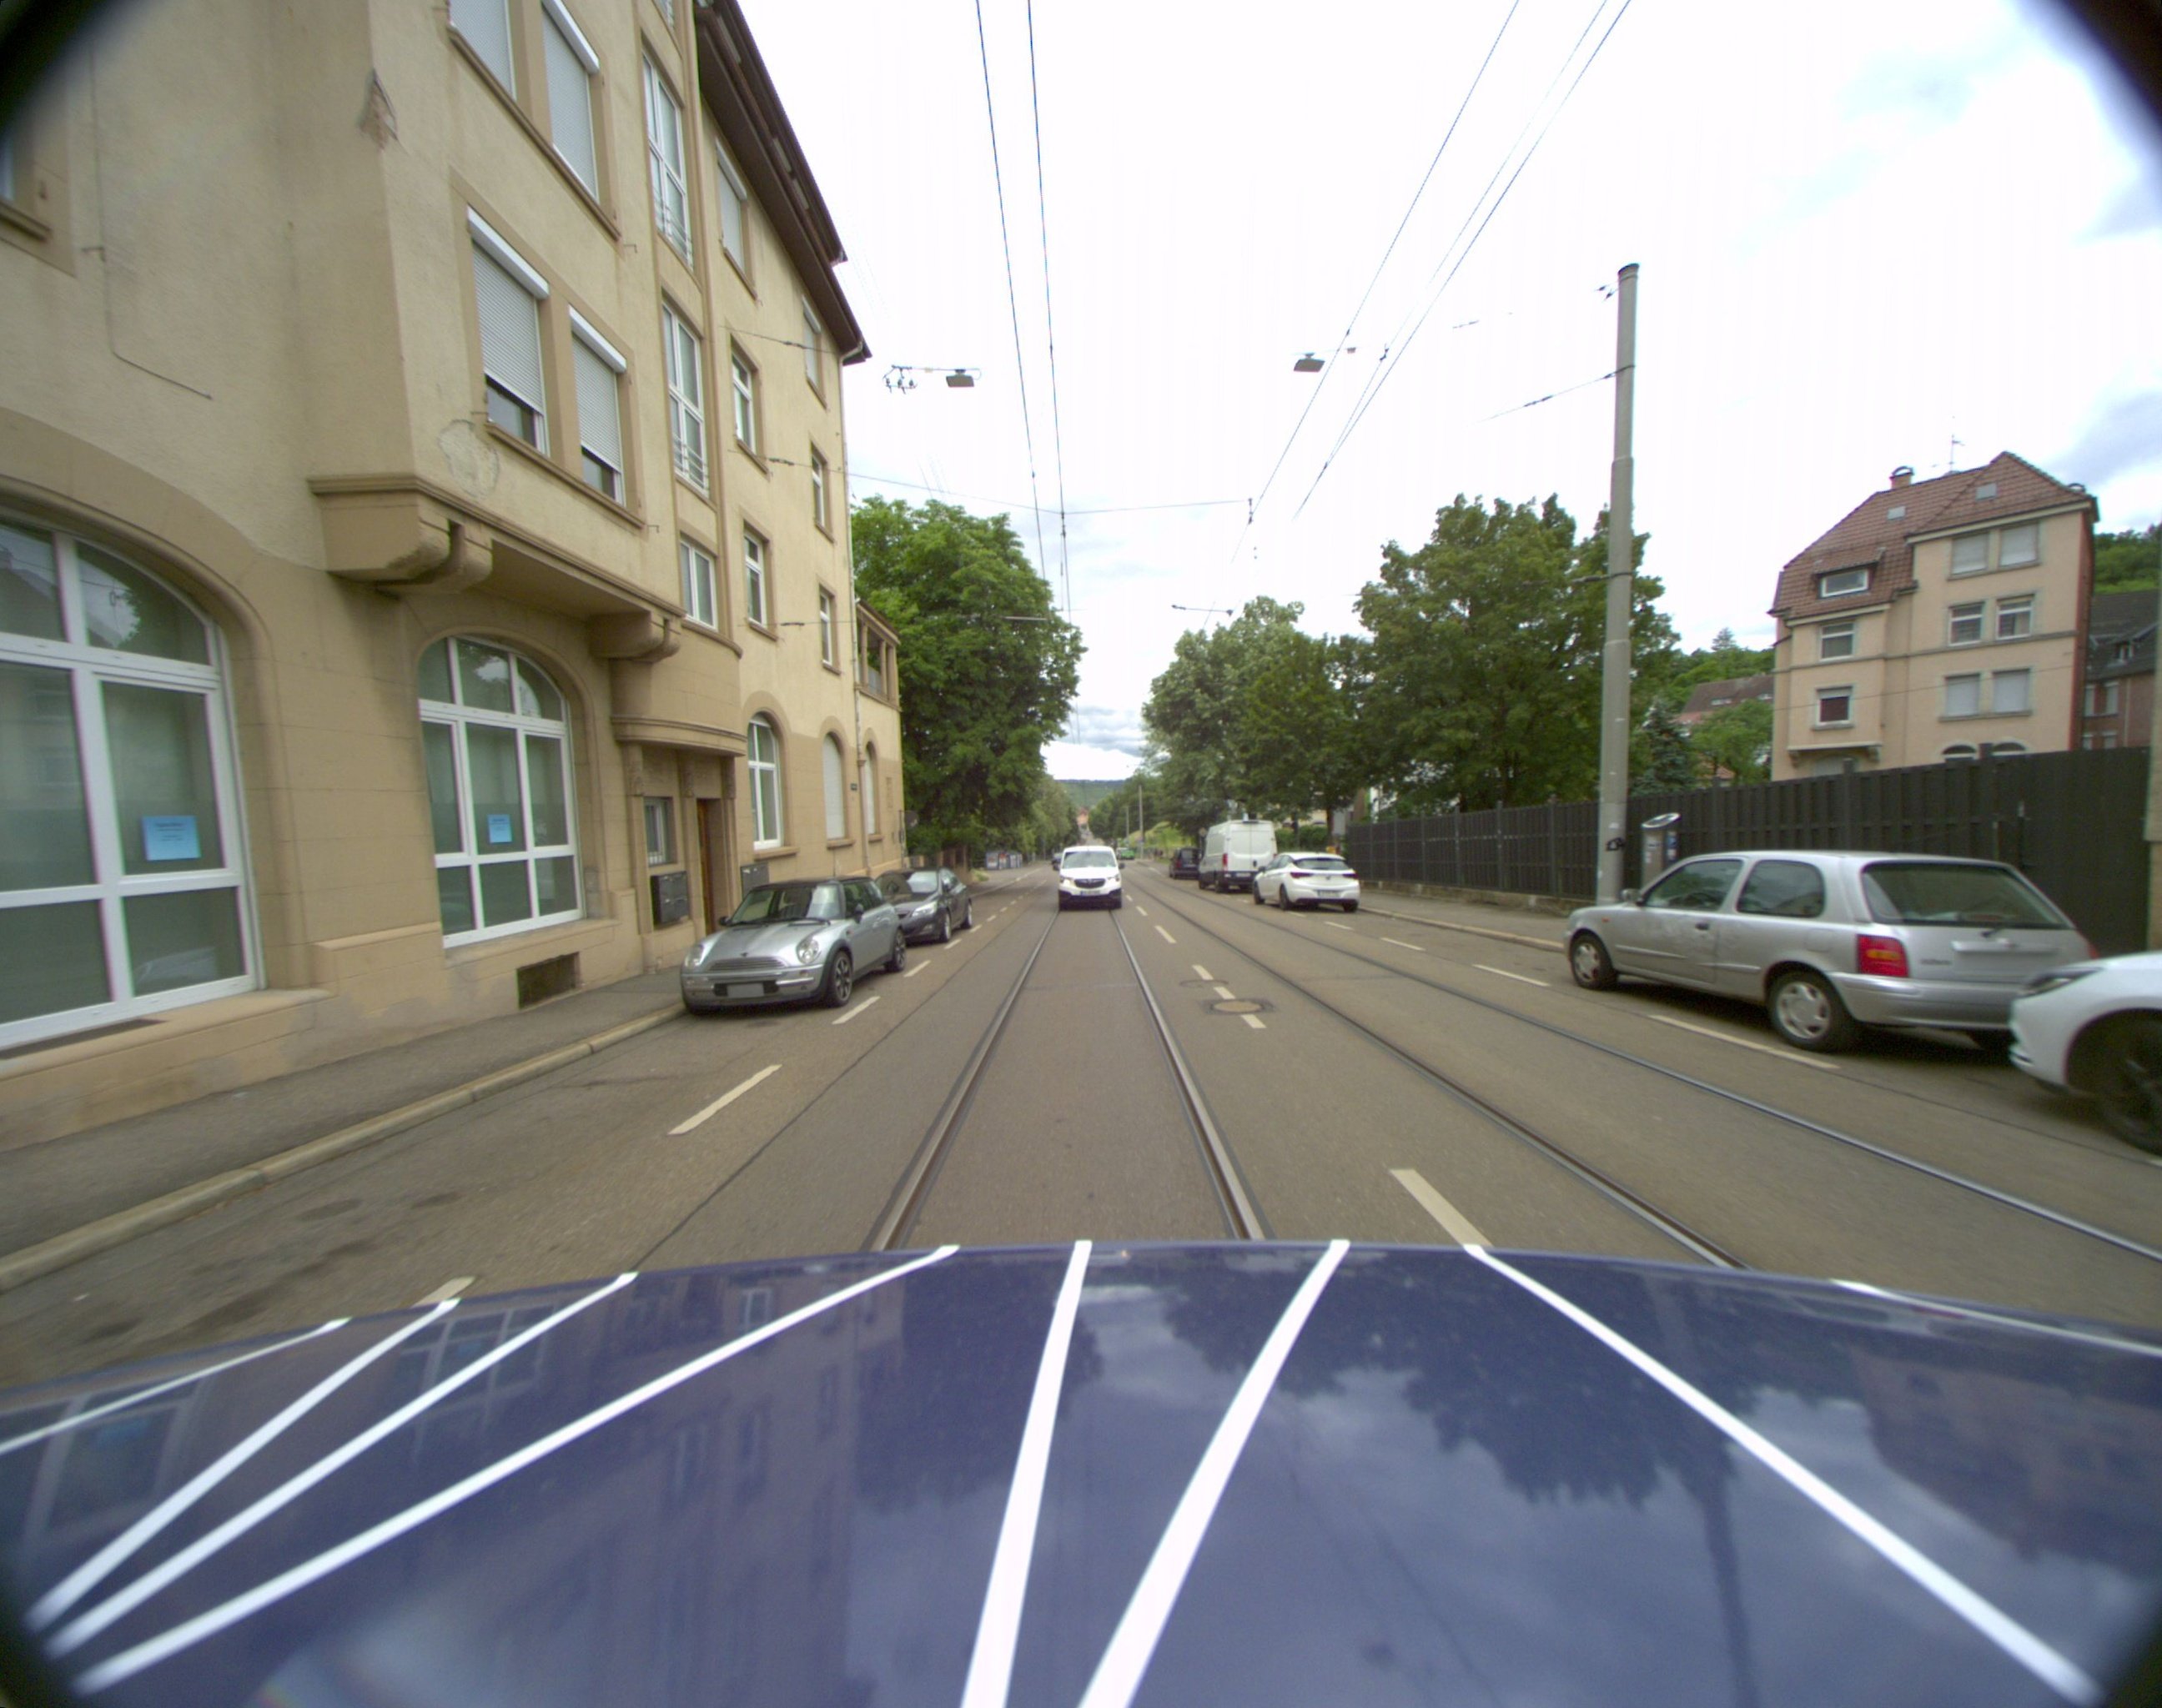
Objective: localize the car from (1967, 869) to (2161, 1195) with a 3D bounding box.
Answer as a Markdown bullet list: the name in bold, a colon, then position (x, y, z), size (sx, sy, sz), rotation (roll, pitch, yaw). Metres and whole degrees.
- **car**: position (5.736, 0.817, 1.773), size (1.832, 1.420, 4.626), rotation (1, 0, -2)

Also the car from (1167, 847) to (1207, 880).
- **car**: position (6.095, 0.491, 44.256), size (1.766, 1.765, 4.668), rotation (1, 1, 2)

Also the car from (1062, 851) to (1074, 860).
- **car**: position (-2.157, 0.272, 127.732), size (1.822, 1.344, 3.940), rotation (-4, 0, 2)

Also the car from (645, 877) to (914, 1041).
- **car**: position (-3.413, 1.107, 9.406), size (1.699, 1.396, 3.667), rotation (-4, 0, 1)

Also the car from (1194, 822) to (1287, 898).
- **car**: position (5.985, 0.190, 29.392), size (2.164, 2.591, 6.218), rotation (1, 0, -1)

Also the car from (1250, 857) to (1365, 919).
- **car**: position (5.706, 0.794, 19.702), size (1.723, 1.394, 4.313), rotation (1, 0, 1)

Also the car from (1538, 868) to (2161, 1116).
- **car**: position (5.777, 0.854, 6.404), size (1.604, 1.360, 3.807), rotation (1, 0, 2)

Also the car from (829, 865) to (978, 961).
- **car**: position (-3.326, 1.039, 15.116), size (1.844, 1.395, 4.166), rotation (-4, 1, 1)

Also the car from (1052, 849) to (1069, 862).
- **car**: position (-2.676, 0.208, 98.370), size (1.863, 1.434, 4.388), rotation (-5, 1, 1)

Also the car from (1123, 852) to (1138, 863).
- **car**: position (6.825, 0.462, 104.789), size (1.856, 1.532, 3.948), rotation (-2, 0, 1)

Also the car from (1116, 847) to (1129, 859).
- **car**: position (6.763, -0.118, 124.480), size (1.901, 1.935, 4.290), rotation (0, 1, 1)

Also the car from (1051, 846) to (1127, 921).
- **car**: position (0.322, 0.740, 21.448), size (1.759, 1.824, 4.449), rotation (-2, 1, 5)
